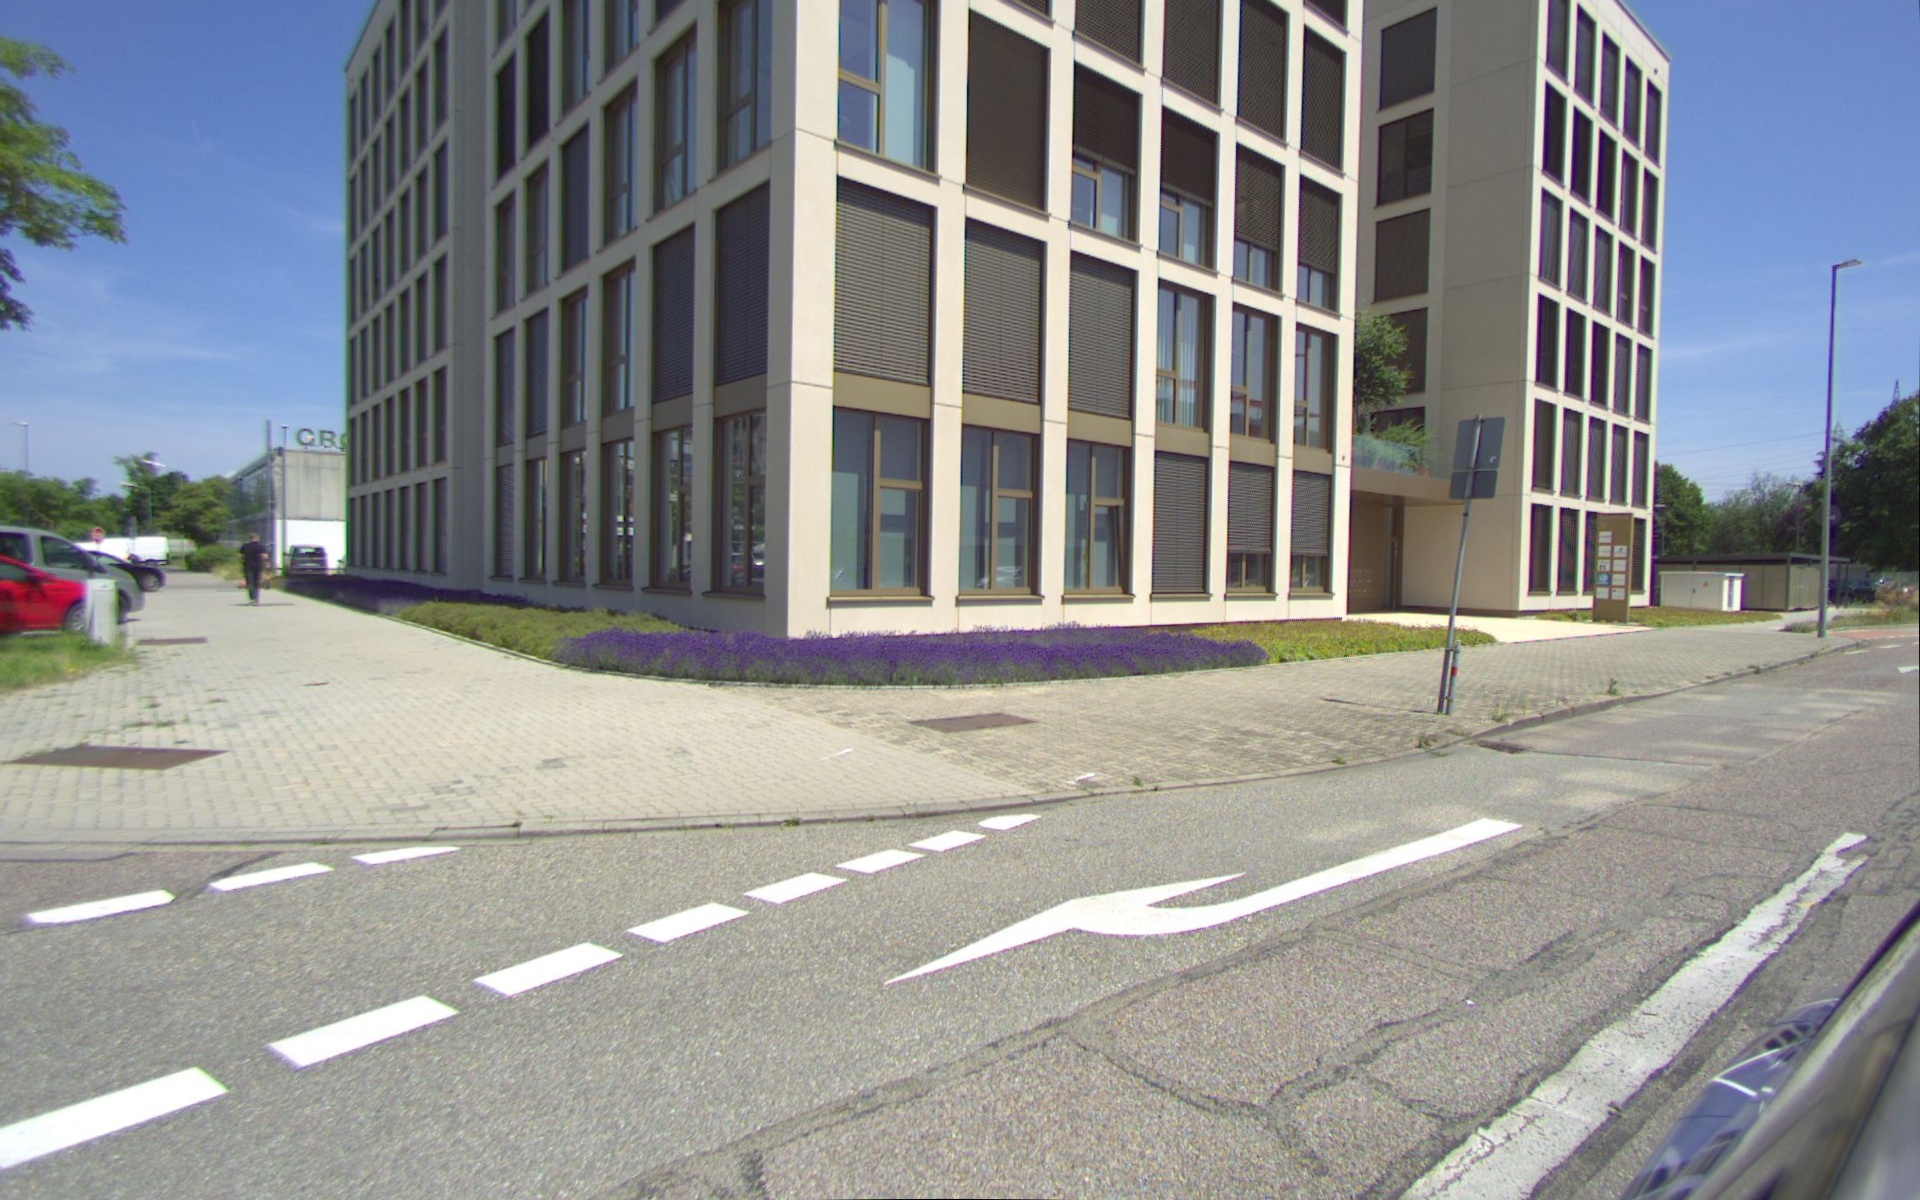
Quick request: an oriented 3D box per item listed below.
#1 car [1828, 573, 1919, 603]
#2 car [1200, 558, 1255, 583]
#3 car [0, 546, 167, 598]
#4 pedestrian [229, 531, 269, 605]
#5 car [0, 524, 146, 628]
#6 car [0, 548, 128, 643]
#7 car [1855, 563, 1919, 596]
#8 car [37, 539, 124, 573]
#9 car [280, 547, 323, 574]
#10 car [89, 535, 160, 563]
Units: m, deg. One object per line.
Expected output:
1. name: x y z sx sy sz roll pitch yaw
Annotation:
1. car: 55.699 -0.730 61.591 3.960 1.682 1.822 2 3 26
2. car: 21.142 -2.331 79.913 3.921 1.874 2.002 0 2 -31
3. car: -29.119 -0.976 33.528 1.792 1.557 4.131 0 3 19
4. pedestrian: -18.412 -0.833 26.228 0.758 1.867 0.869 -1 3 -32
5. car: -17.775 -0.471 18.371 1.676 1.837 4.899 3 3 7
6. car: -15.419 -0.083 15.587 1.584 1.452 3.991 1 2 9
7. car: 59.199 -1.308 63.571 3.958 1.977 1.984 2 2 25
8. car: -55.000 -2.728 63.390 3.925 2.038 2.000 0 2 -36
9. car: -37.911 -2.286 58.238 1.758 1.540 3.574 -1 3 -39
10. car: -67.496 -4.101 81.860 4.280 2.146 2.094 0 2 -37
